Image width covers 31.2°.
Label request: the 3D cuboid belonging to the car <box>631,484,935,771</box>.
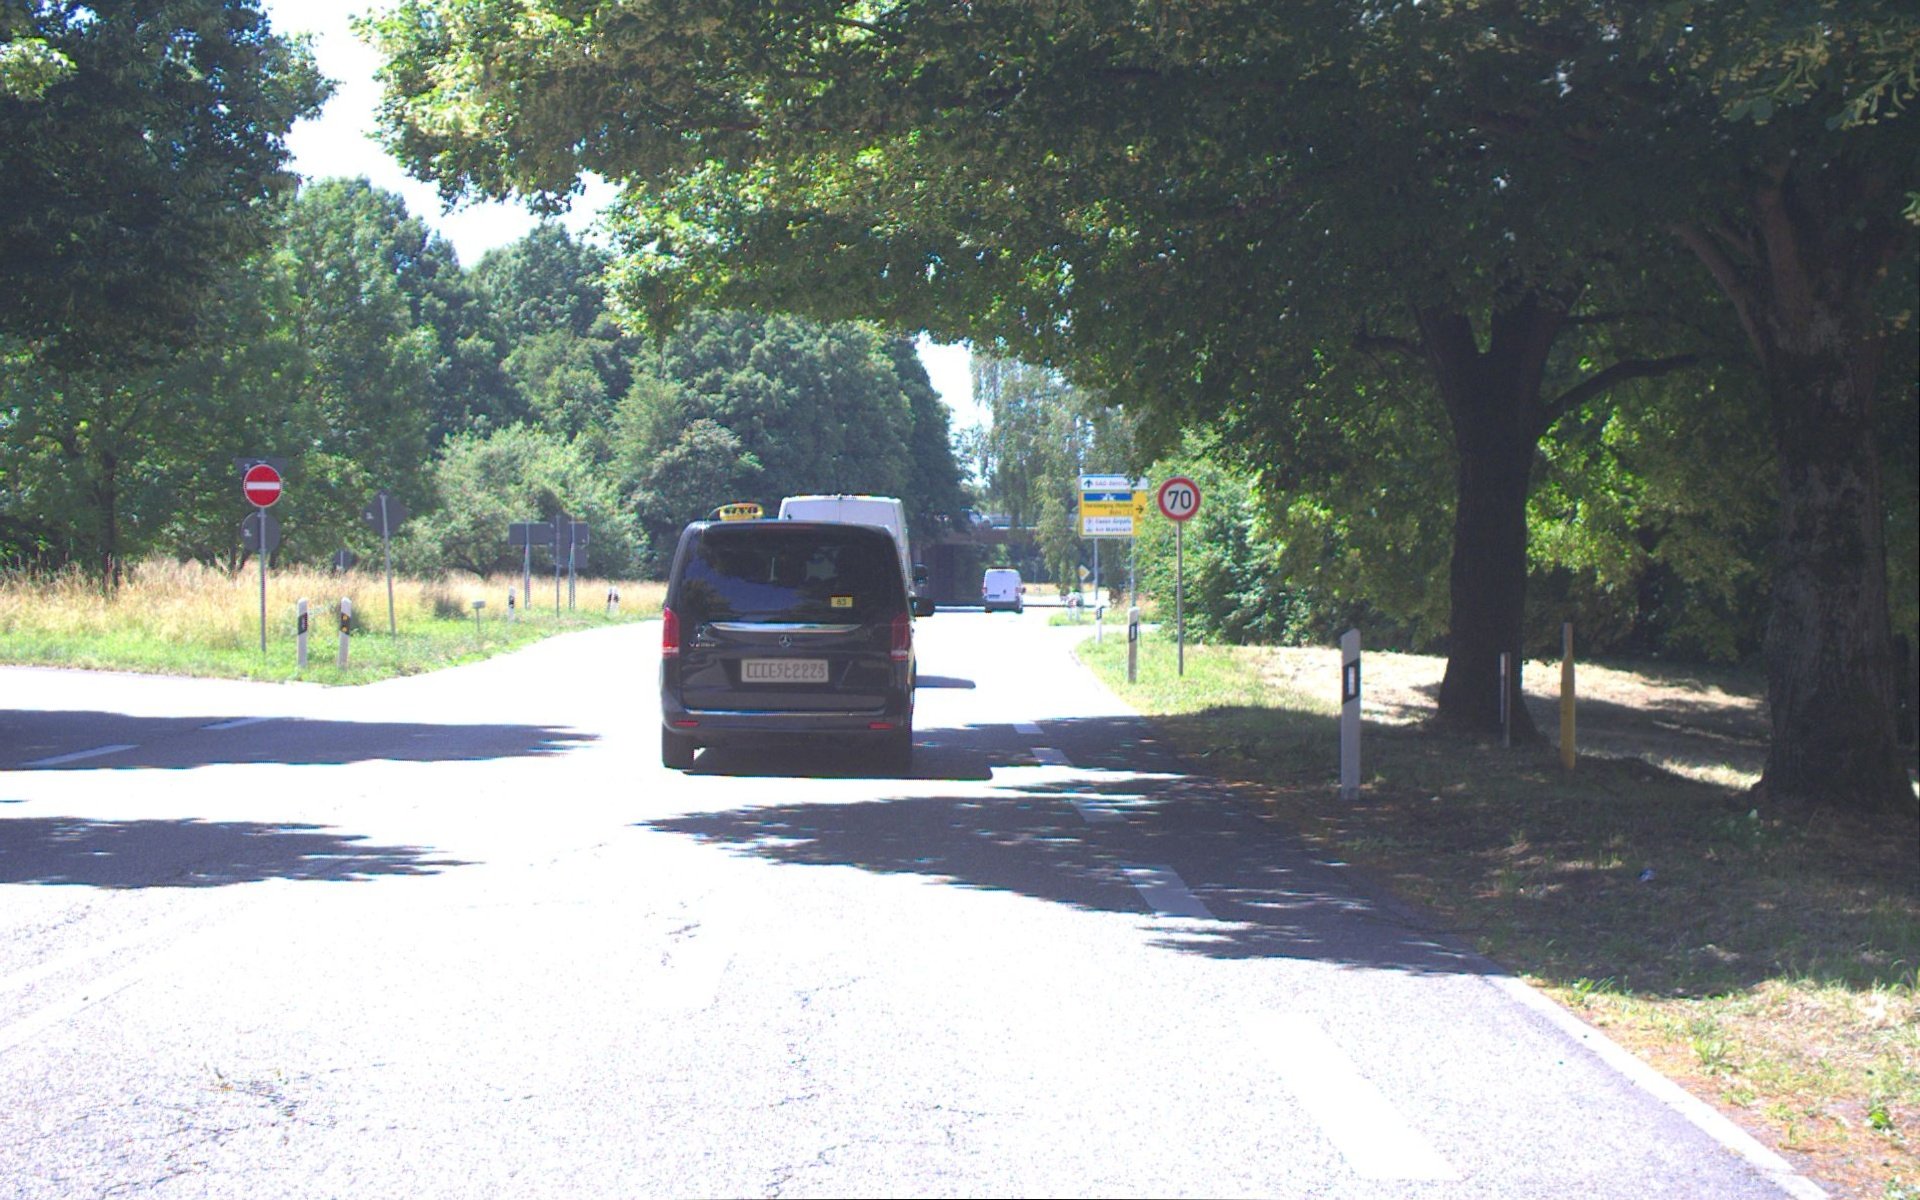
[{"bbox_3d":[-1.273,0.187,26.893,1.993,1.946,5.005,3,0,1],"label":"car"}]

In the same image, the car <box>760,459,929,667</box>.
[{"bbox_3d":[-1.561,-0.497,48.241,2.078,2.693,4.666,3,0,0],"label":"car"}]

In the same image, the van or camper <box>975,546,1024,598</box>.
[{"bbox_3d":[2.306,-1.639,203.466,2.631,2.919,5.207,2,0,-1],"label":"van or camper"}]
